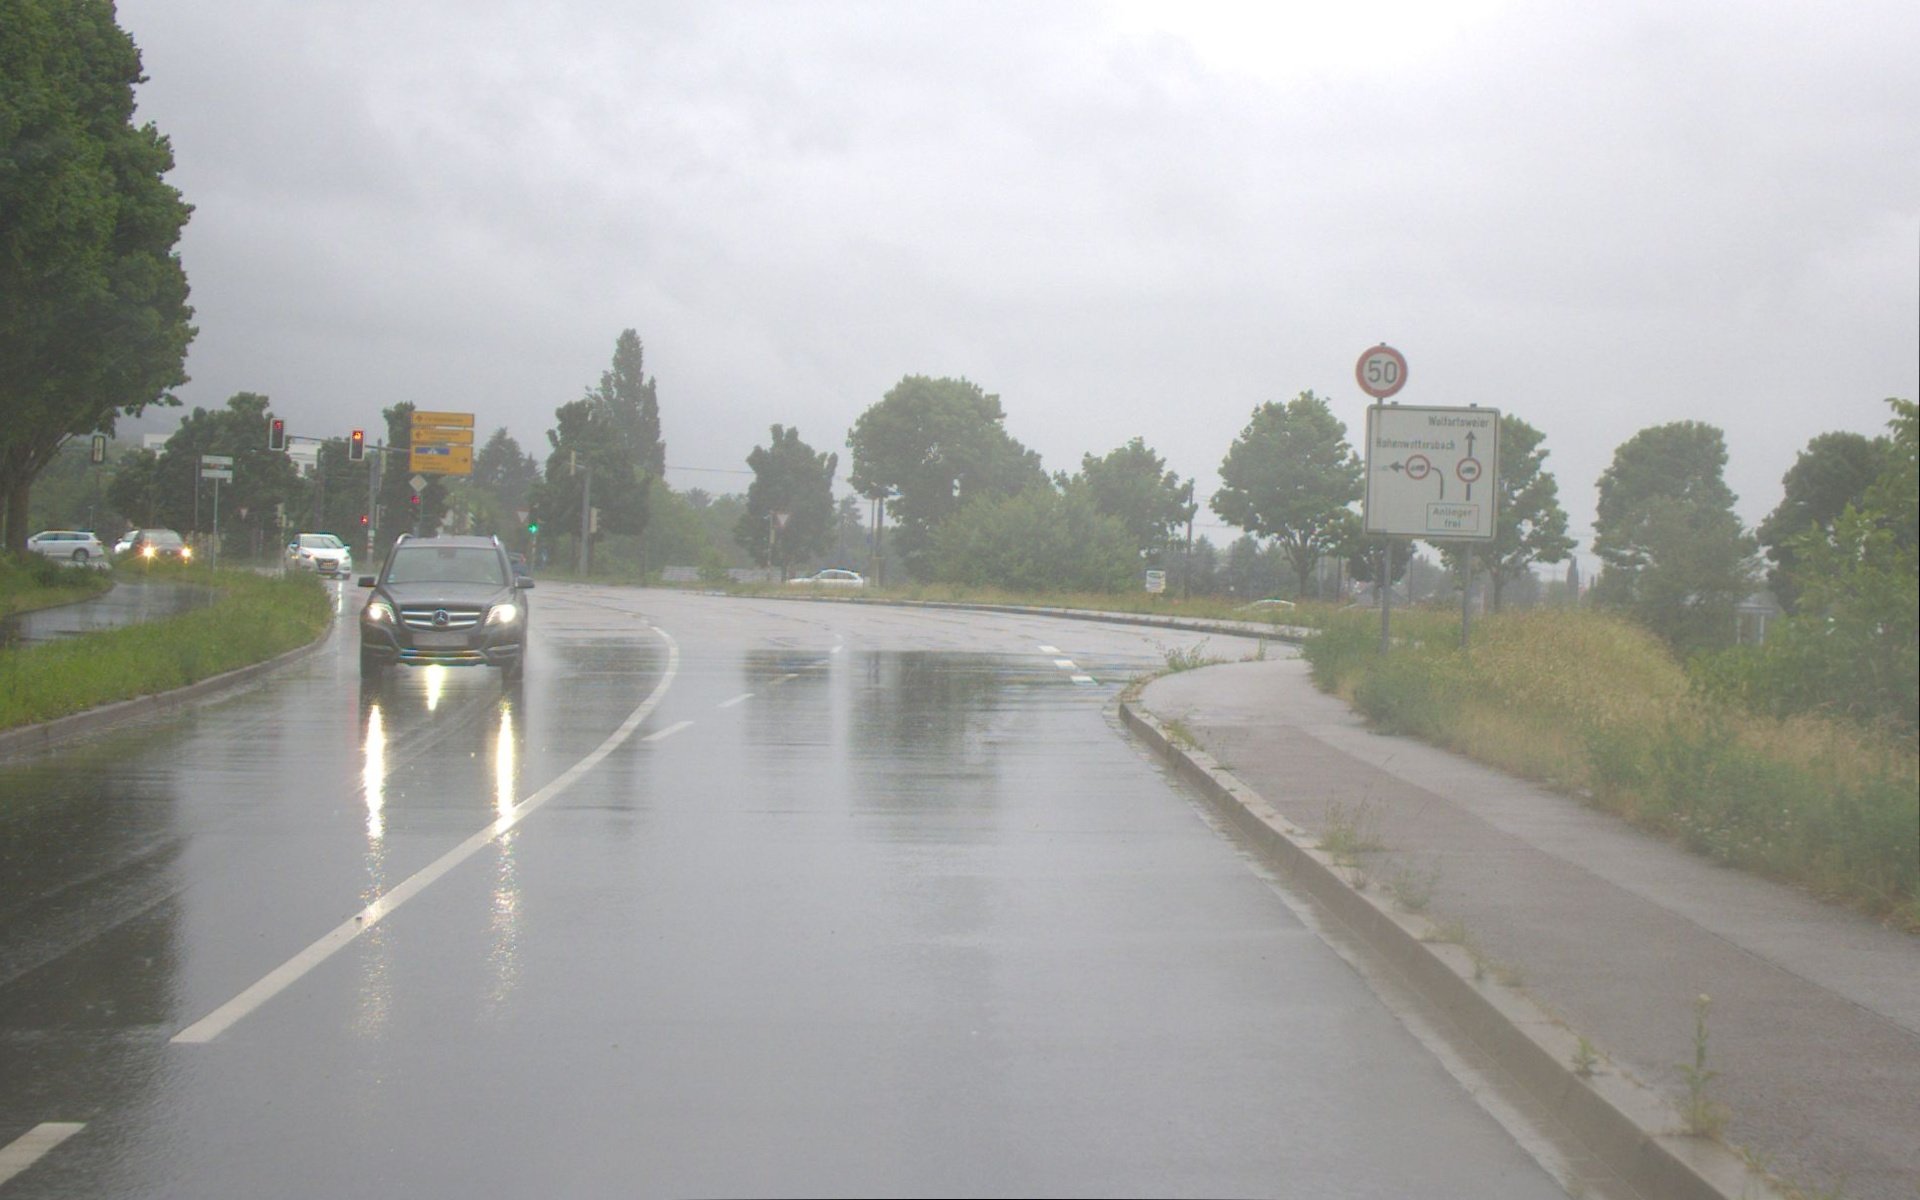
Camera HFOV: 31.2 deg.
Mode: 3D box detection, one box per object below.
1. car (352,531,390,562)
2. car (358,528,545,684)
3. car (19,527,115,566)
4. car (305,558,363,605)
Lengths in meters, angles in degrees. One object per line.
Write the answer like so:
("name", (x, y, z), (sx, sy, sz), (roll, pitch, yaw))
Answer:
("car", (-29.026, -2.631, 169.495), (1.739, 1.482, 4.012), (1, 1, -8))
("car", (-5.859, 0.042, 40.009), (1.741, 1.698, 4.223), (1, 1, -3))
("car", (-41.810, -2.495, 161.056), (4.234, 1.574, 1.733), (3, 0, -14))
("car", (-20.730, -0.628, 113.925), (1.739, 1.482, 4.012), (1, 1, -8))
